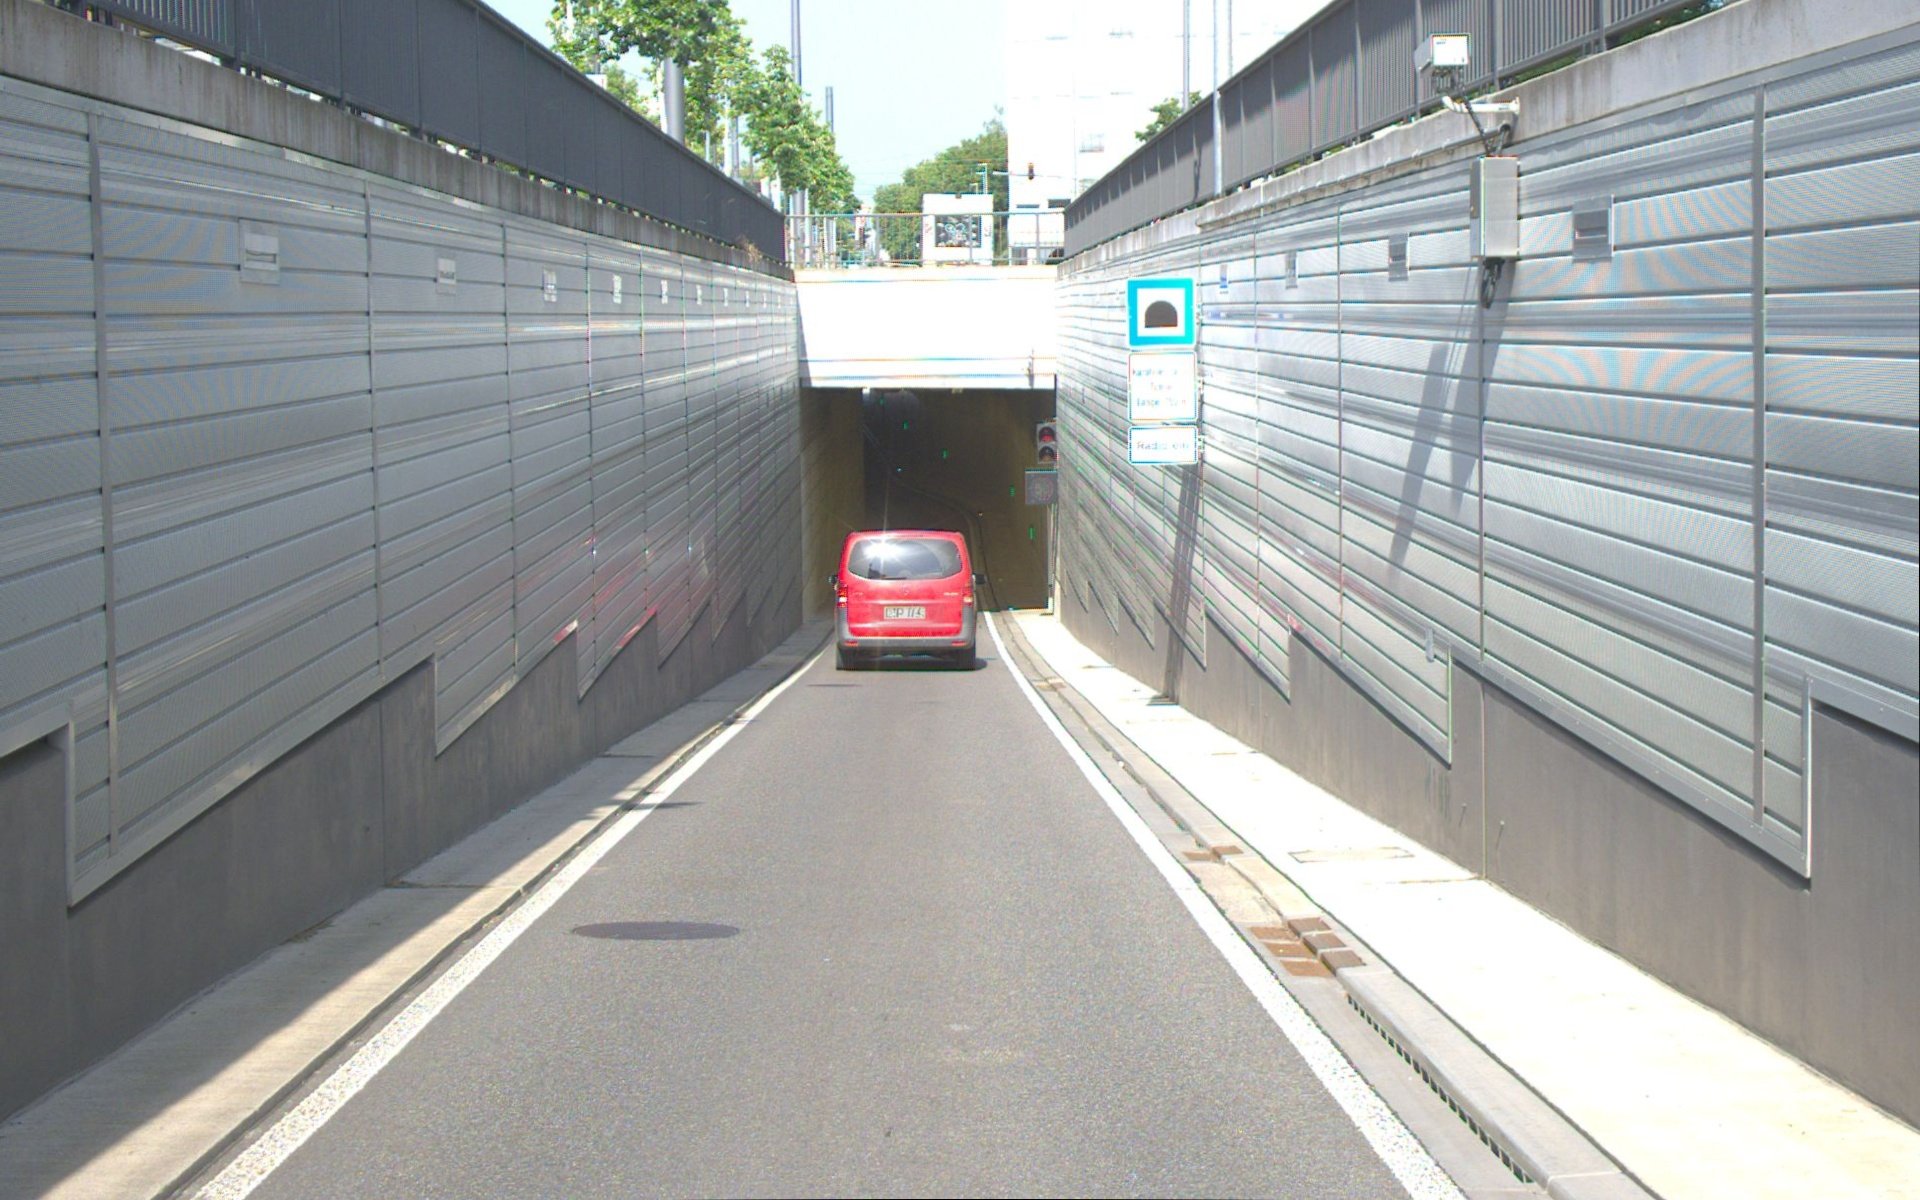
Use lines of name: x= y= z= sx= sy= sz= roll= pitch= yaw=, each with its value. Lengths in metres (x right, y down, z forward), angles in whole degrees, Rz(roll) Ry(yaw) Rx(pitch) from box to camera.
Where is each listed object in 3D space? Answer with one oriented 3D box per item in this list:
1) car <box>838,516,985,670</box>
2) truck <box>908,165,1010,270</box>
car: x=-0.663 y=-0.137 z=46.847 sx=1.901 sy=1.853 sz=4.001 roll=1 pitch=3 yaw=-1
truck: x=-0.114 y=-14.806 z=133.904 sx=3.390 sy=3.712 sz=10.456 roll=-2 pitch=5 yaw=-3
